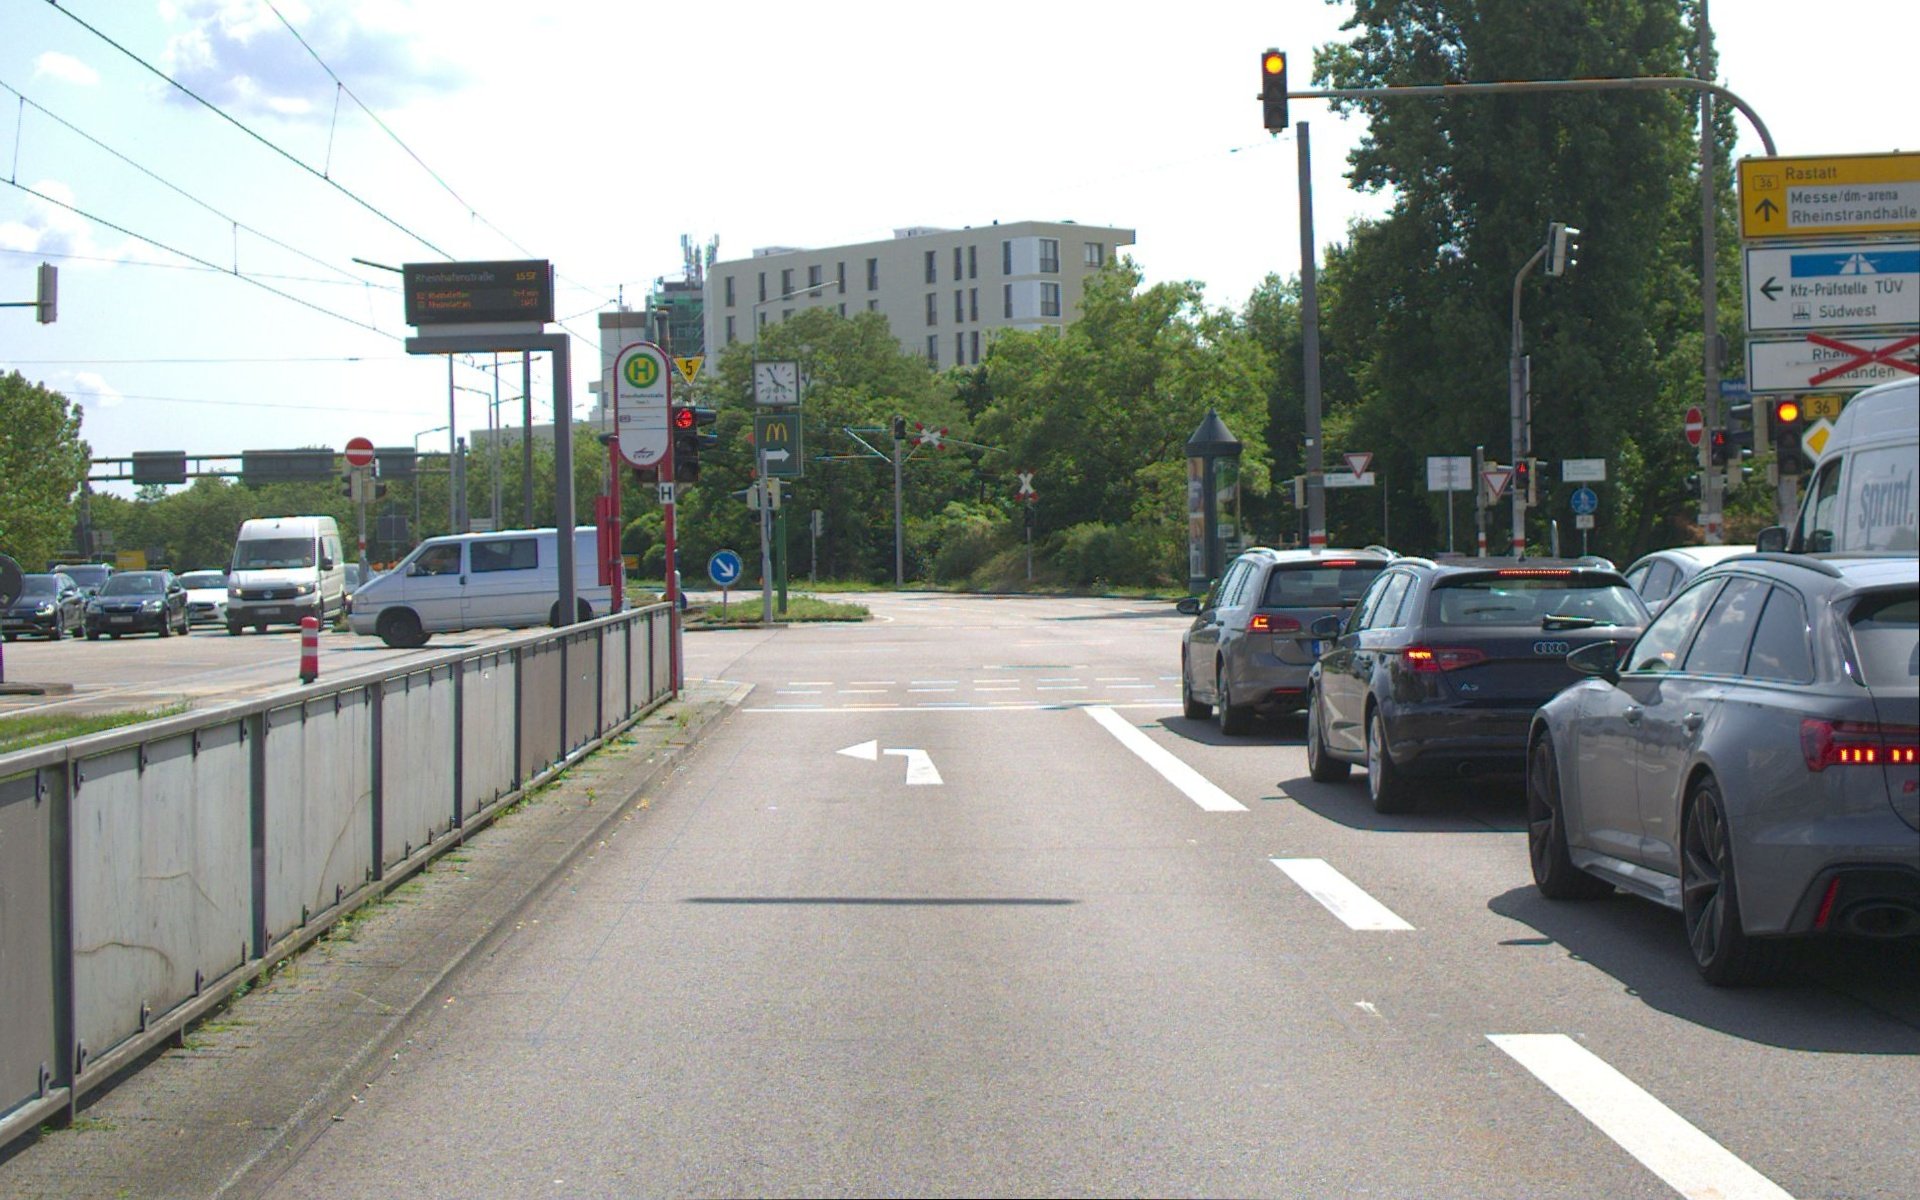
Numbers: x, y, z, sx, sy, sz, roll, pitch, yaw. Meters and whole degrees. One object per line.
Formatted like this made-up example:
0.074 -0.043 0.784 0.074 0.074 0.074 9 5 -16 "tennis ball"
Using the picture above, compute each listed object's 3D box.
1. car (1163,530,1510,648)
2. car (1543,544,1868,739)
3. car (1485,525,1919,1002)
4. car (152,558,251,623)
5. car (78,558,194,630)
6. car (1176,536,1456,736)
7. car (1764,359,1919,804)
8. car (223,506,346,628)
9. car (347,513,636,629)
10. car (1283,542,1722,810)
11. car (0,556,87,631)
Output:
5.043 -0.148 46.479 4.459 1.509 2.000 1 0 0 "car"
5.943 0.278 27.896 1.745 1.443 4.379 1 1 1 "car"
3.327 0.468 12.863 1.887 1.443 4.828 1 1 -1 "car"
-18.493 -0.248 83.942 1.802 1.536 4.165 1 0 -5 "car"
-18.026 -0.144 75.337 1.896 1.536 3.730 1 0 -5 "car"
2.816 0.242 28.027 1.744 1.494 4.380 0 1 -1 "car"
6.495 -0.124 20.523 2.041 2.549 5.232 -1 1 -1 "car"
-14.943 -0.724 76.289 1.993 2.597 4.879 1 0 -3 "car"
-7.959 -0.500 58.707 4.676 1.930 2.000 0 1 -1 "car"
3.088 0.376 20.392 1.869 1.415 4.100 1 1 -1 "car"
-20.996 -0.168 77.575 1.862 1.645 4.001 1 0 -5 "car"
